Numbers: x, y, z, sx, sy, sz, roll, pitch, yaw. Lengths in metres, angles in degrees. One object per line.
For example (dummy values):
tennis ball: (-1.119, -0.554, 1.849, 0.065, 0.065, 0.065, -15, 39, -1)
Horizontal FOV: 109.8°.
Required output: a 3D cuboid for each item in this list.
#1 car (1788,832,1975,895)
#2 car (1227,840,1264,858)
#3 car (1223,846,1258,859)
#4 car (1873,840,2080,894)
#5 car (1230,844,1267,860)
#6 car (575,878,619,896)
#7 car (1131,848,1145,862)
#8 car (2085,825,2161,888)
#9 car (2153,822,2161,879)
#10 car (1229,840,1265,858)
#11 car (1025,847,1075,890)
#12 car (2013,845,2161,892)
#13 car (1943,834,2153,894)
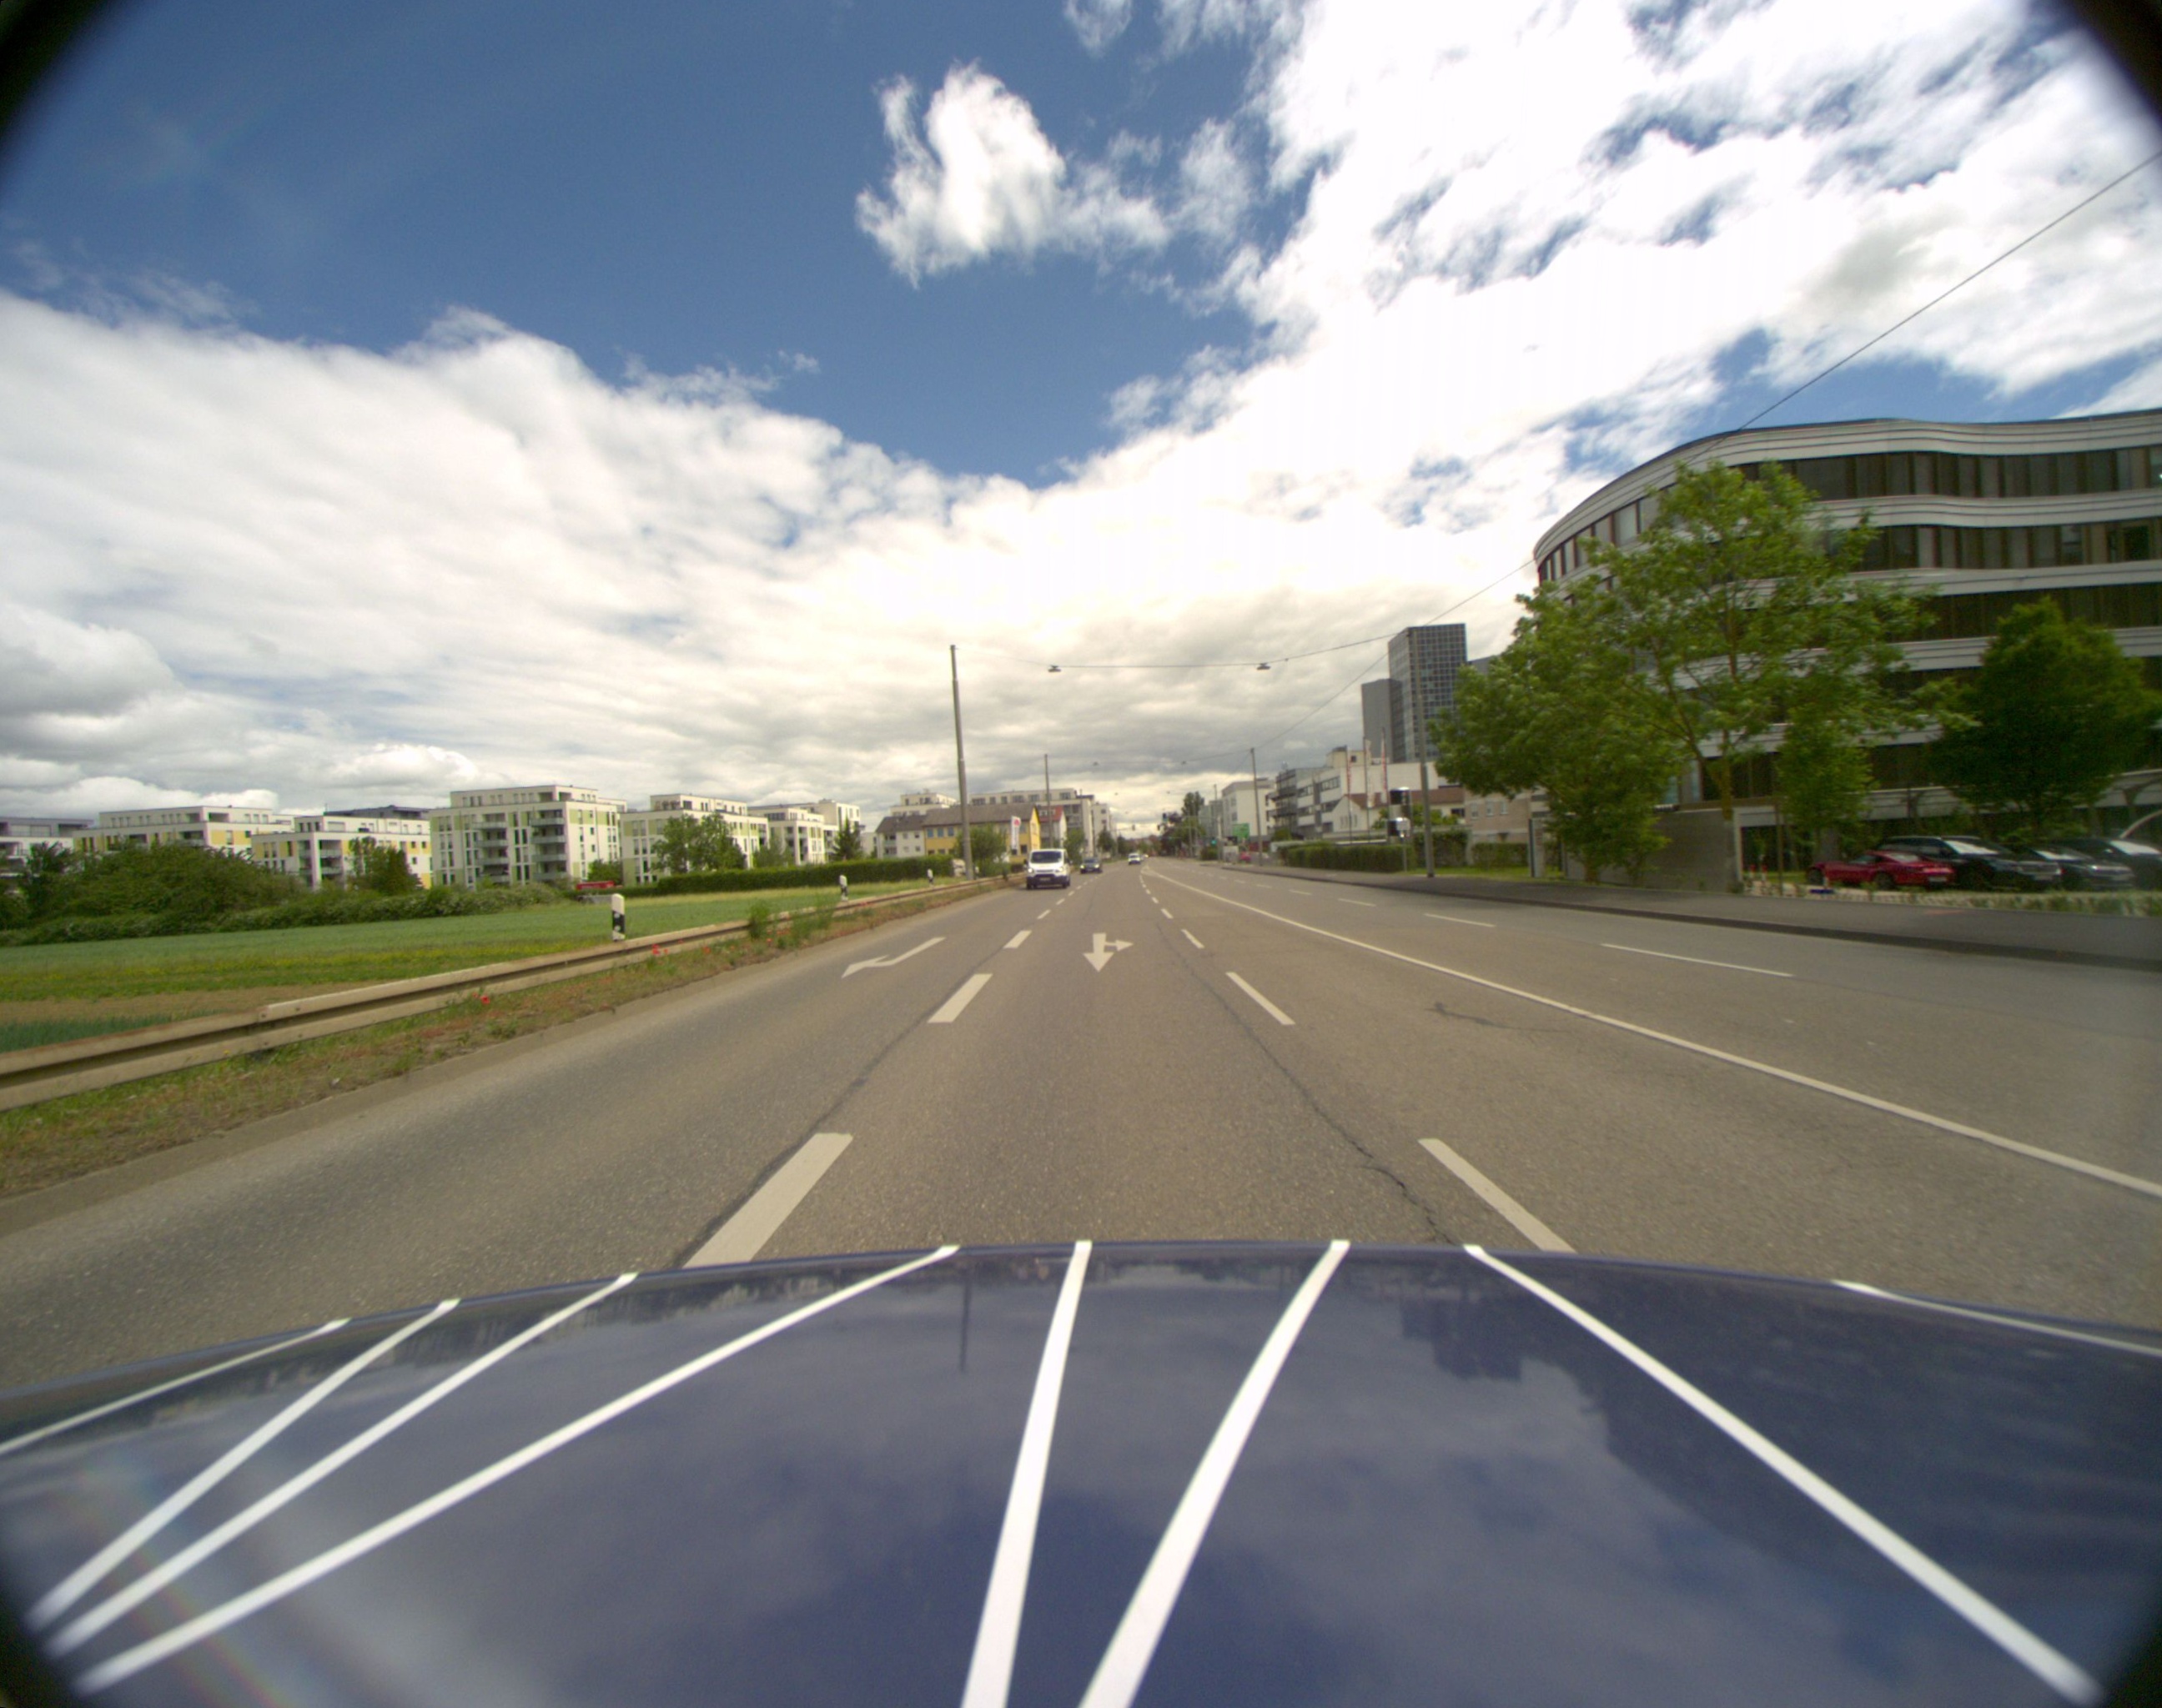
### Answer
car: (26.528, 0.242, 25.414, 1.868, 1.784, 3.996, -2, 3, -4)
car: (19.781, -0.633, 91.439, 3.996, 2.002, 1.920, -3, 1, 2)
car: (20.249, -0.189, 96.393, 3.996, 1.324, 1.824, -5, 0, 2)
car: (28.804, 0.364, 24.678, 1.998, 1.609, 3.999, 0, 1, 1)
car: (19.562, -0.217, 88.817, 3.801, 1.602, 1.836, -3, 0, 1)
car: (-64.314, 4.357, 101.086, 4.437, 2.002, 1.999, -3, 1, -1)
car: (8.846, 0.073, 117.633, 1.800, 2.002, 3.999, -3, 1, 1)
car: (36.590, 0.068, 24.970, 1.933, 2.015, 3.999, -3, 1, 1)
car: (38.774, -0.032, 24.747, 1.998, 2.003, 3.997, -3, 4, 1)
car: (20.560, -0.645, 94.137, 3.996, 2.002, 1.904, -3, 1, 2)
car: (-1.496, 0.667, 39.027, 1.998, 1.907, 5.882, -3, 1, 2)
car: (33.609, 0.424, 24.791, 1.525, 1.368, 3.999, -3, 1, 1)
car: (31.535, 0.280, 25.006, 1.824, 1.713, 3.999, -3, 1, 1)
